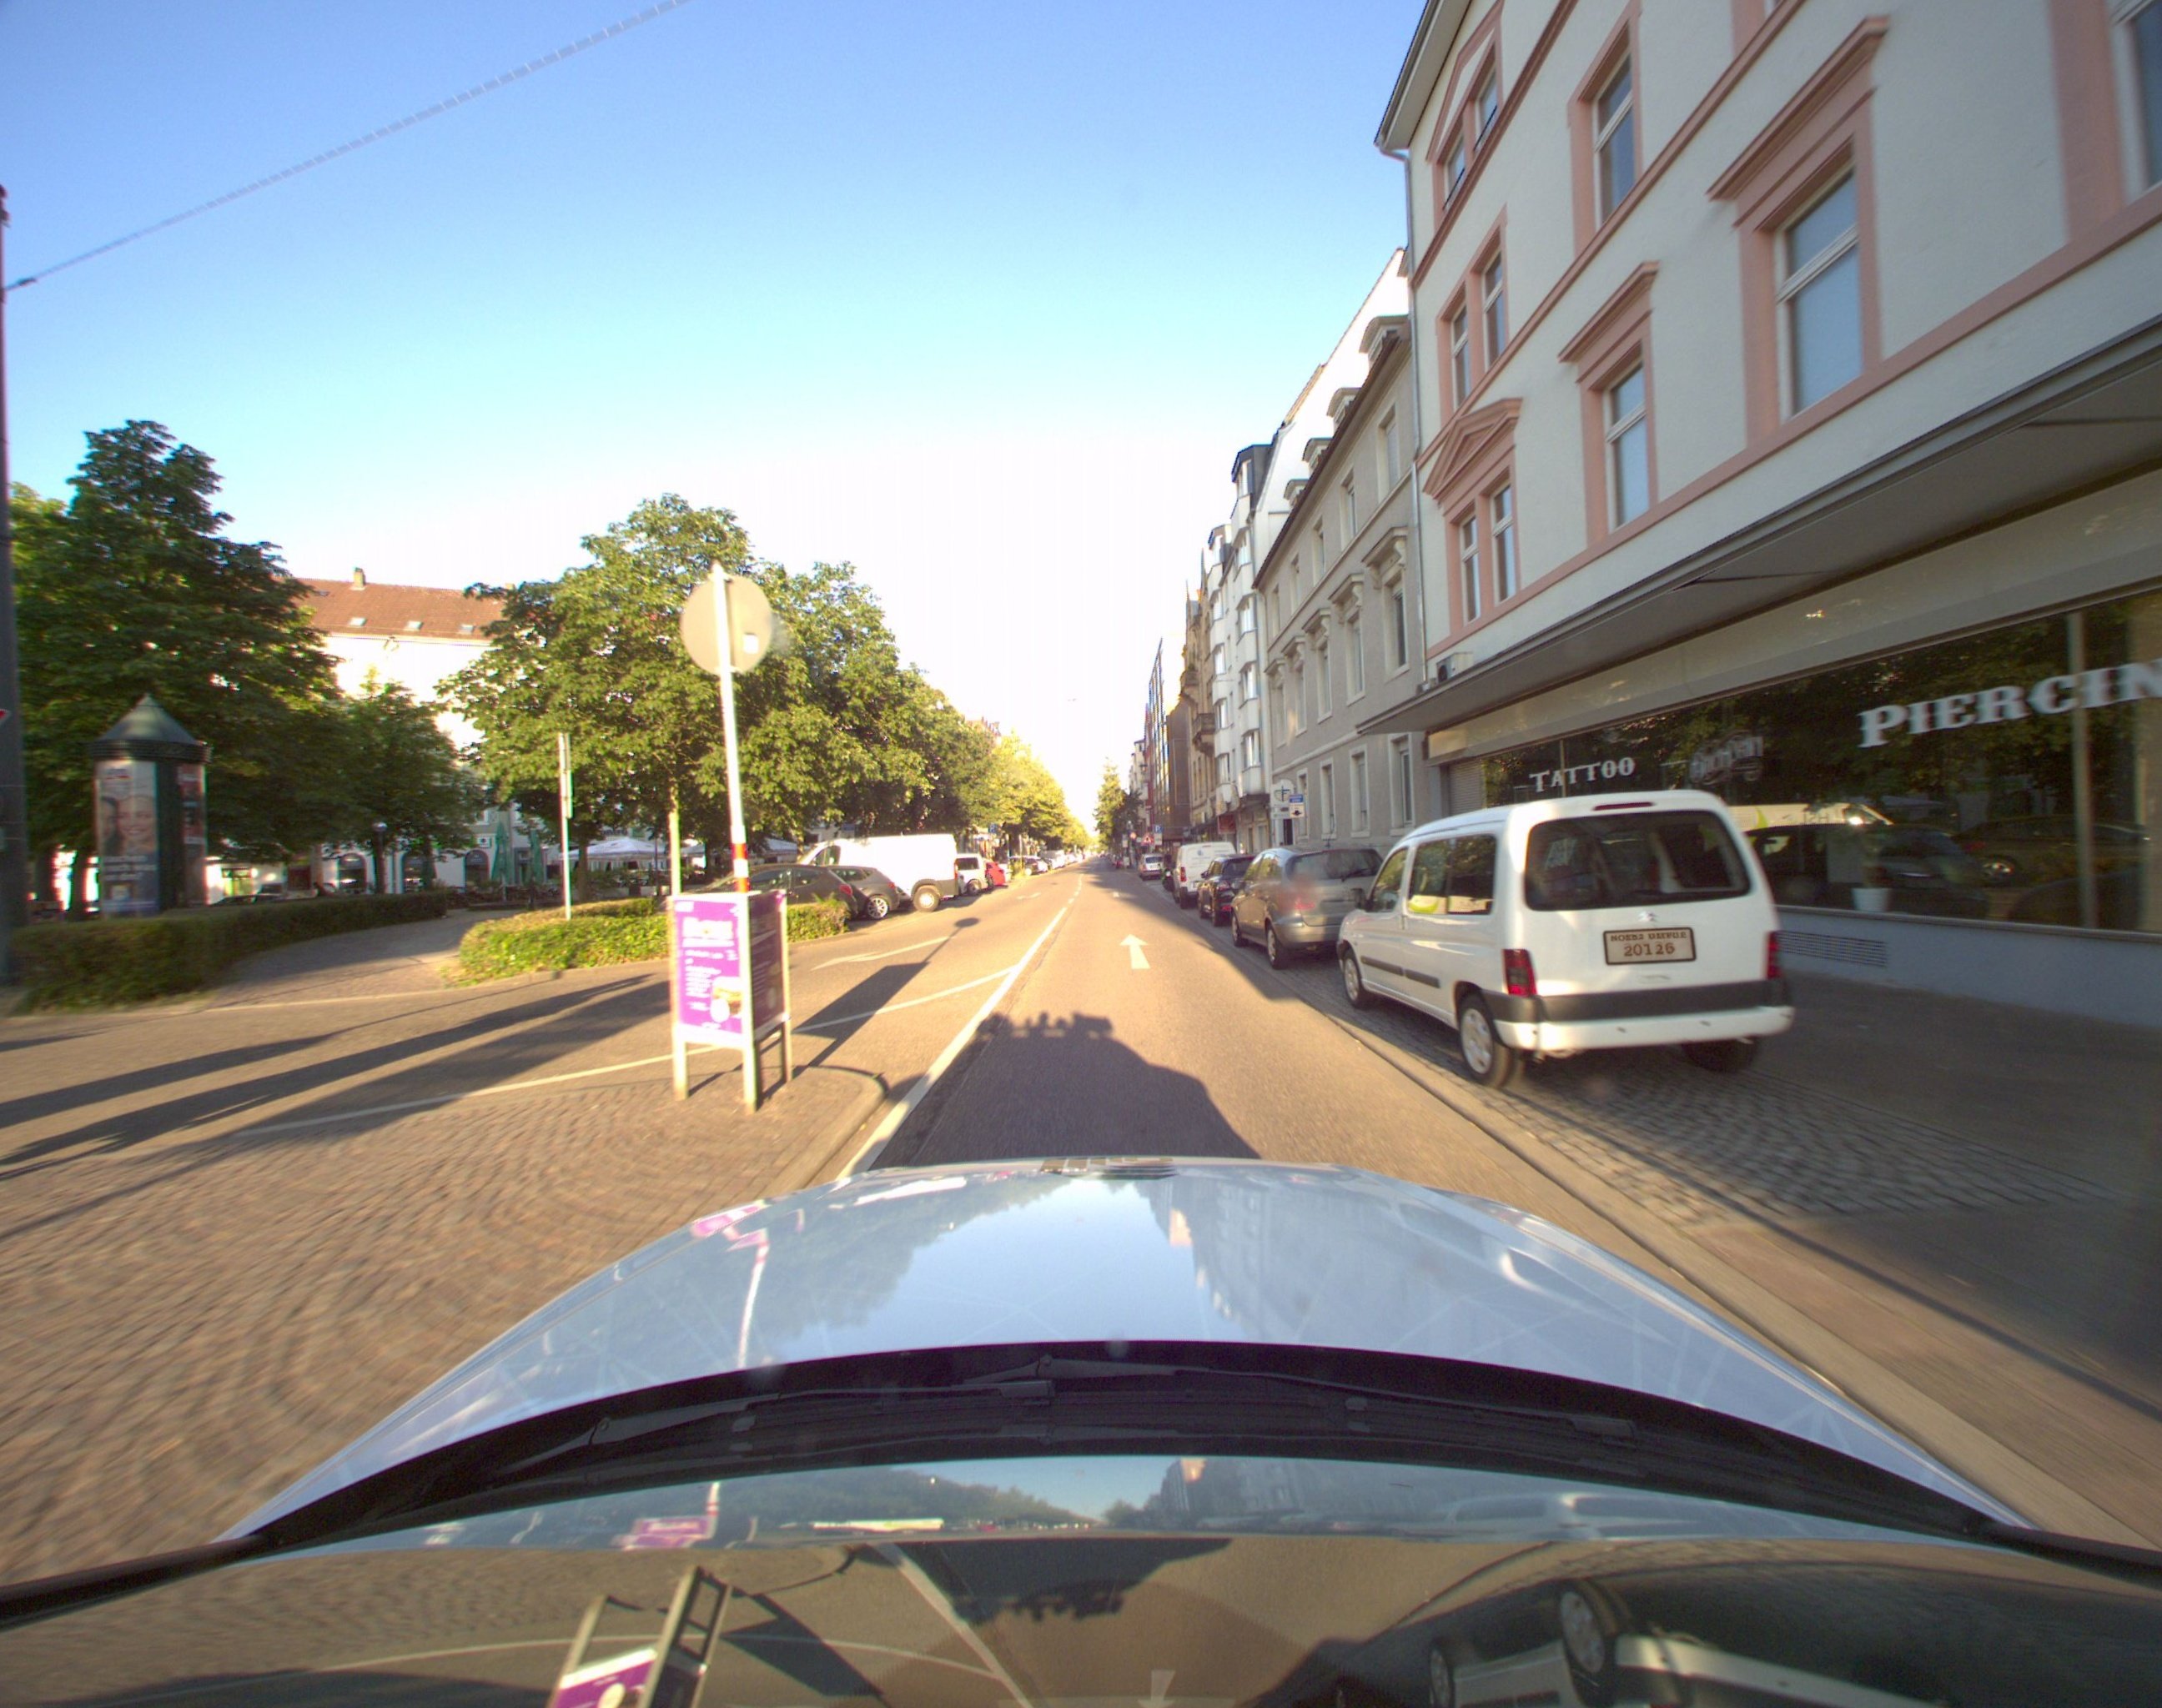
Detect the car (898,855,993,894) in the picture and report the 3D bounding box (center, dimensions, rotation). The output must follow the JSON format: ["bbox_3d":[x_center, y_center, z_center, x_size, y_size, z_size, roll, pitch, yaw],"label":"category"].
[{"bbox_3d":[-6.261,0.913,37.758,4.016,1.696,1.731,-1,0,-35],"label":"car"}]

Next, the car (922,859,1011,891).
[{"bbox_3d":[-5.788,1.038,41.282,4.010,1.486,1.982,-1,0,-28],"label":"car"}]

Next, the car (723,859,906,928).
[{"bbox_3d":[-6.704,0.924,20.655,4.019,1.486,1.812,-1,0,-38],"label":"car"}]

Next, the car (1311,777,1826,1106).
[{"bbox_3d":[3.320,0.498,6.637,1.786,1.792,4.093,-2,0,2],"label":"car"}]

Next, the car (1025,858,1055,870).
[{"bbox_3d":[-5.475,1.306,109.158,3.727,1.596,2.000,-1,0,0],"label":"car"}]

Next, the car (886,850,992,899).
[{"bbox_3d":[-5.983,0.834,34.525,4.017,1.878,1.851,-1,0,-35],"label":"car"}]

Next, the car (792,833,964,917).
[{"bbox_3d":[-6.040,0.560,24.262,4.622,2.251,2.184,-1,0,-26],"label":"car"}]

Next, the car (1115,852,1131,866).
[{"bbox_3d":[5.018,0.573,97.750,1.572,1.542,3.395,-4,-1,-1],"label":"car"}]

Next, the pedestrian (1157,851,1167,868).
[{"bbox_3d":[8.317,0.555,83.632,0.763,1.689,0.786,-3,0,-1],"label":"pedestrian"}]

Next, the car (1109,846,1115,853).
[{"bbox_3d":[7.583,-1.110,200.224,1.305,1.600,2.659,-1,-1,-1],"label":"car"}]

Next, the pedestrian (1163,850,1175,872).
[{"bbox_3d":[6.521,0.506,60.685,0.752,1.640,1.259,-1,0,1],"label":"pedestrian"}]

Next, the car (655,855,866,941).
[{"bbox_3d":[-6.782,0.852,17.367,3.899,1.582,1.784,-1,0,-34],"label":"car"}]

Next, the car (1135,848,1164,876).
[{"bbox_3d":[4.655,0.508,55.757,1.690,1.769,4.001,-2,0,1],"label":"car"}]

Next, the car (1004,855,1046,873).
[{"bbox_3d":[-5.555,1.021,81.221,3.976,1.708,1.833,-1,0,0],"label":"car"}]

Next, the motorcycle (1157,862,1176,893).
[{"bbox_3d":[3.561,0.966,33.917,0.586,1.200,2.211,-1,0,1],"label":"motorcycle"}]

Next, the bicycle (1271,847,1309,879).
[{"bbox_3d":[6.828,0.313,26.735,0.455,1.012,1.705,-1,-1,-13],"label":"bicycle"}]

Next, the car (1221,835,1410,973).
[{"bbox_3d":[3.246,0.612,12.101,1.651,1.665,4.108,-1,0,1],"label":"car"}]

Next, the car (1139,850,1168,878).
[{"bbox_3d":[4.490,0.612,50.886,1.673,1.561,4.004,-4,0,4],"label":"car"}]

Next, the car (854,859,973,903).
[{"bbox_3d":[-6.338,0.990,30.959,4.018,1.492,1.829,-1,0,-37],"label":"car"}]

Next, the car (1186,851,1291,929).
[{"bbox_3d":[3.429,0.717,18.376,1.661,1.544,3.884,-1,0,1],"label":"car"}]

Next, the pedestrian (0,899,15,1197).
[{"bbox_3d":[-5.408,0.915,3.762,0.606,1.364,0.568,-1,0,37],"label":"pedestrian"}]

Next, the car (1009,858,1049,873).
[{"bbox_3d":[-5.689,1.239,89.149,4.161,1.507,2.000,-1,0,0],"label":"car"}]

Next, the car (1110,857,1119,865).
[{"bbox_3d":[5.349,1.153,129.796,1.203,1.300,2.659,-1,-1,-1],"label":"car"}]

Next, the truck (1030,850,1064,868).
[{"bbox_3d":[-4.993,0.712,120.595,4.924,2.615,2.000,-1,0,0],"label":"truck"}]

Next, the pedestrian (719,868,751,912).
[{"bbox_3d":[-10.364,1.058,24.383,0.752,1.277,0.654,-1,0,-36],"label":"pedestrian"}]

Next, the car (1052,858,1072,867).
[{"bbox_3d":[-3.624,1.573,153.742,3.727,1.493,2.000,-1,0,0],"label":"car"}]

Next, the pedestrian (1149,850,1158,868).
[{"bbox_3d":[7.467,0.509,83.640,0.712,1.865,0.679,-3,0,-2],"label":"pedestrian"}]

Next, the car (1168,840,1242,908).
[{"bbox_3d":[3.658,0.540,24.640,1.703,1.835,4.308,-1,0,2],"label":"car"}]

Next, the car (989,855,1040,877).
[{"bbox_3d":[-6.013,1.086,74.194,4.434,1.835,2.034,-1,1,0],"label":"car"}]

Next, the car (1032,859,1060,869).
[{"bbox_3d":[-4.895,1.397,114.266,3.727,1.450,2.000,-1,0,0],"label":"car"}]

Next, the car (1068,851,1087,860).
[{"bbox_3d":[-0.649,0.314,160.385,3.727,1.708,2.000,-1,0,0],"label":"car"}]

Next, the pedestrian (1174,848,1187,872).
[{"bbox_3d":[7.372,0.428,60.328,0.752,1.767,1.222,-1,0,0],"label":"pedestrian"}]
